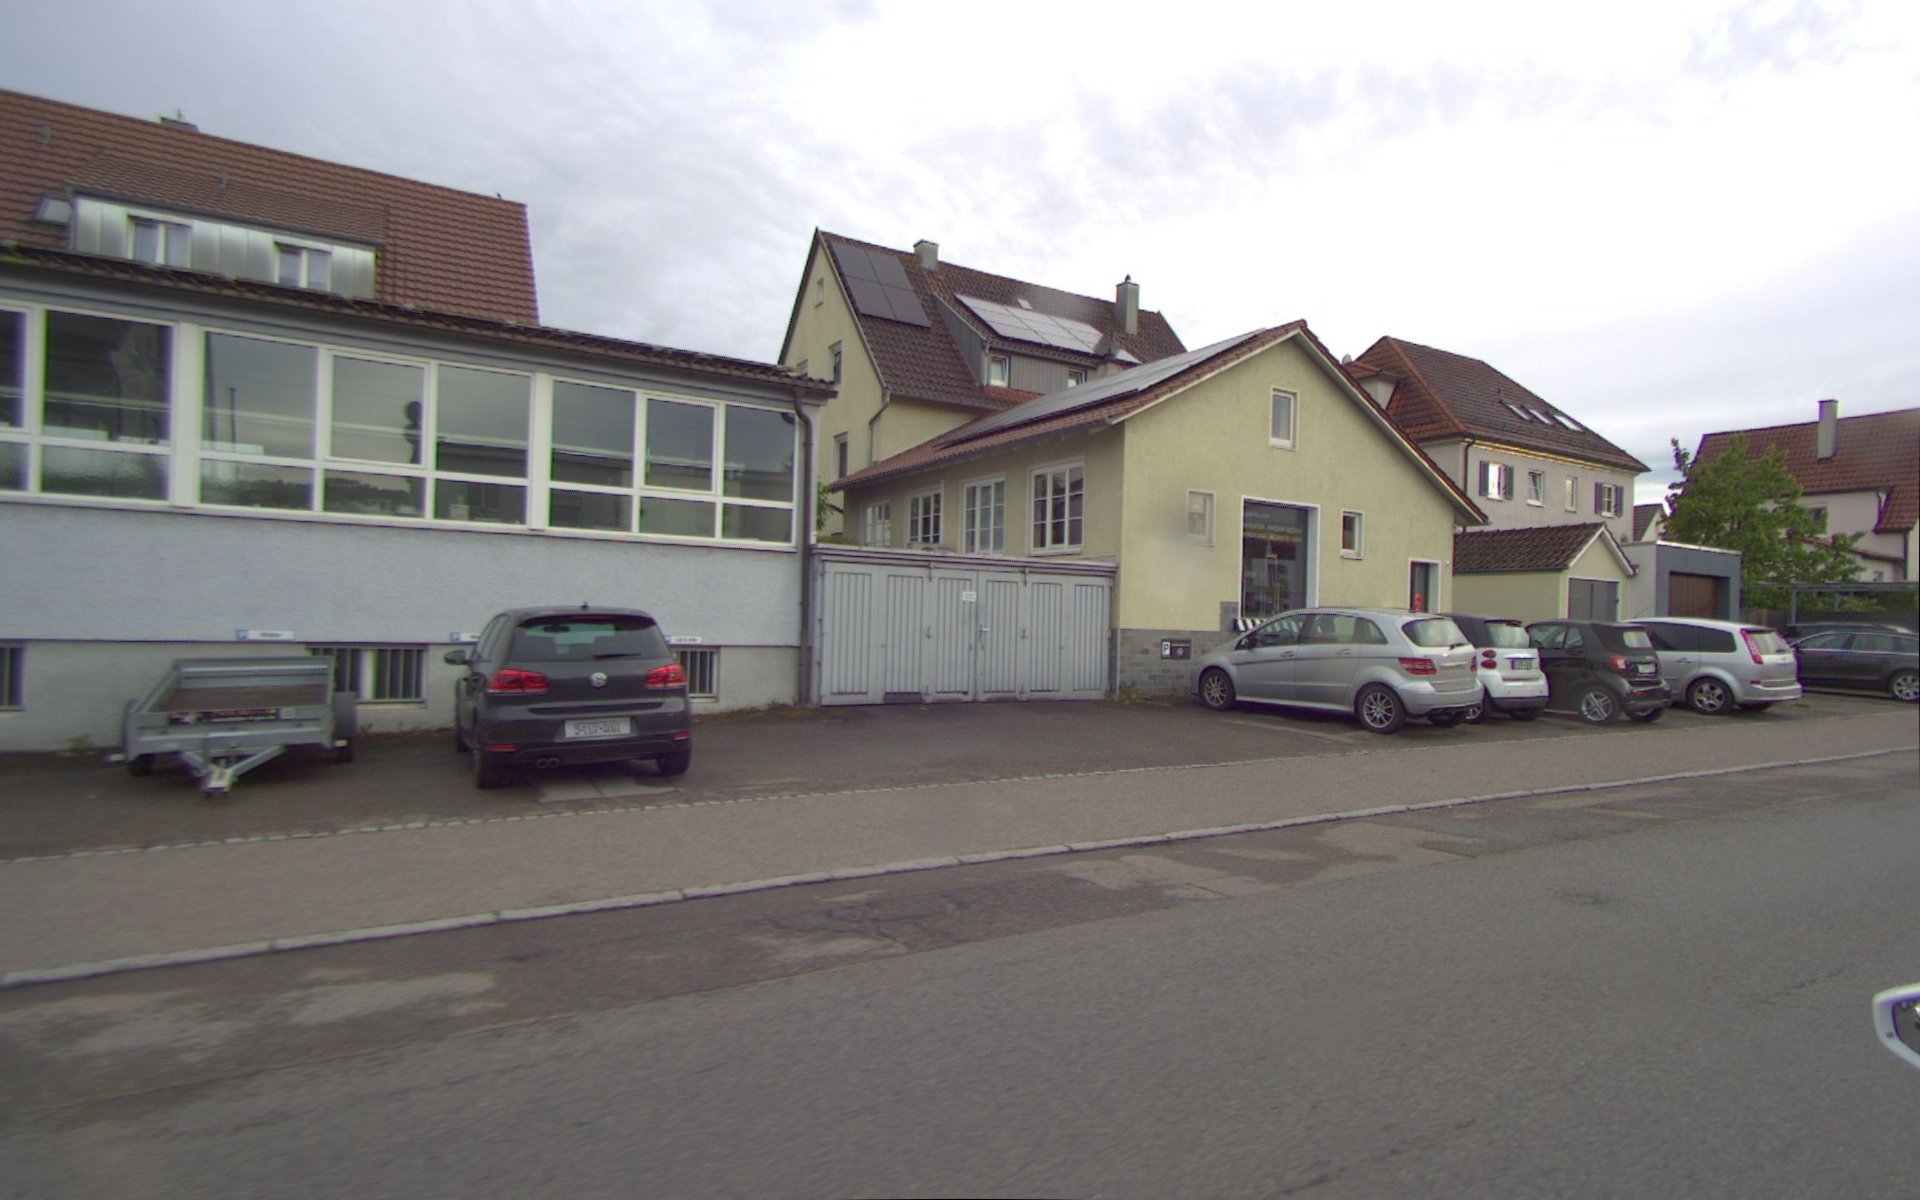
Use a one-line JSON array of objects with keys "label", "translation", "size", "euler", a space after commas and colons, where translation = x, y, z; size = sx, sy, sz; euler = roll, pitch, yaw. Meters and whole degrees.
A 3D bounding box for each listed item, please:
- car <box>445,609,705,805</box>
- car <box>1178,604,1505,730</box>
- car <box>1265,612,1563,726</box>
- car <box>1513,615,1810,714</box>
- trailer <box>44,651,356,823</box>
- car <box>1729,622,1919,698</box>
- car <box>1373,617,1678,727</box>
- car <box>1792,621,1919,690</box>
[{"label": "car", "translation": [-3.831, 0.831, 9.586], "size": [1.747, 1.457, 3.855], "euler": [1, -1, -30]}, {"label": "car", "translation": [5.379, 0.872, 14.633], "size": [1.980, 1.553, 4.058], "euler": [2, -1, -35]}, {"label": "car", "translation": [7.105, 0.990, 16.127], "size": [1.794, 1.553, 4.060], "euler": [1, -1, -33]}, {"label": "car", "translation": [12.593, 1.077, 18.264], "size": [1.864, 1.534, 4.058], "euler": [1, -1, -34]}, {"label": "trailer", "translation": [-6.439, 1.031, 8.972], "size": [1.774, 0.955, 4.175], "euler": [1, -1, -31]}, {"label": "car", "translation": [19.631, 1.271, 22.017], "size": [1.696, 1.433, 4.059], "euler": [1, 0, -33]}, {"label": "car", "translation": [9.158, 1.077, 16.573], "size": [1.739, 1.523, 4.058], "euler": [1, -1, -34]}, {"label": "car", "translation": [22.206, 1.319, 23.723], "size": [1.738, 1.476, 3.563], "euler": [2, 1, -34]}]
